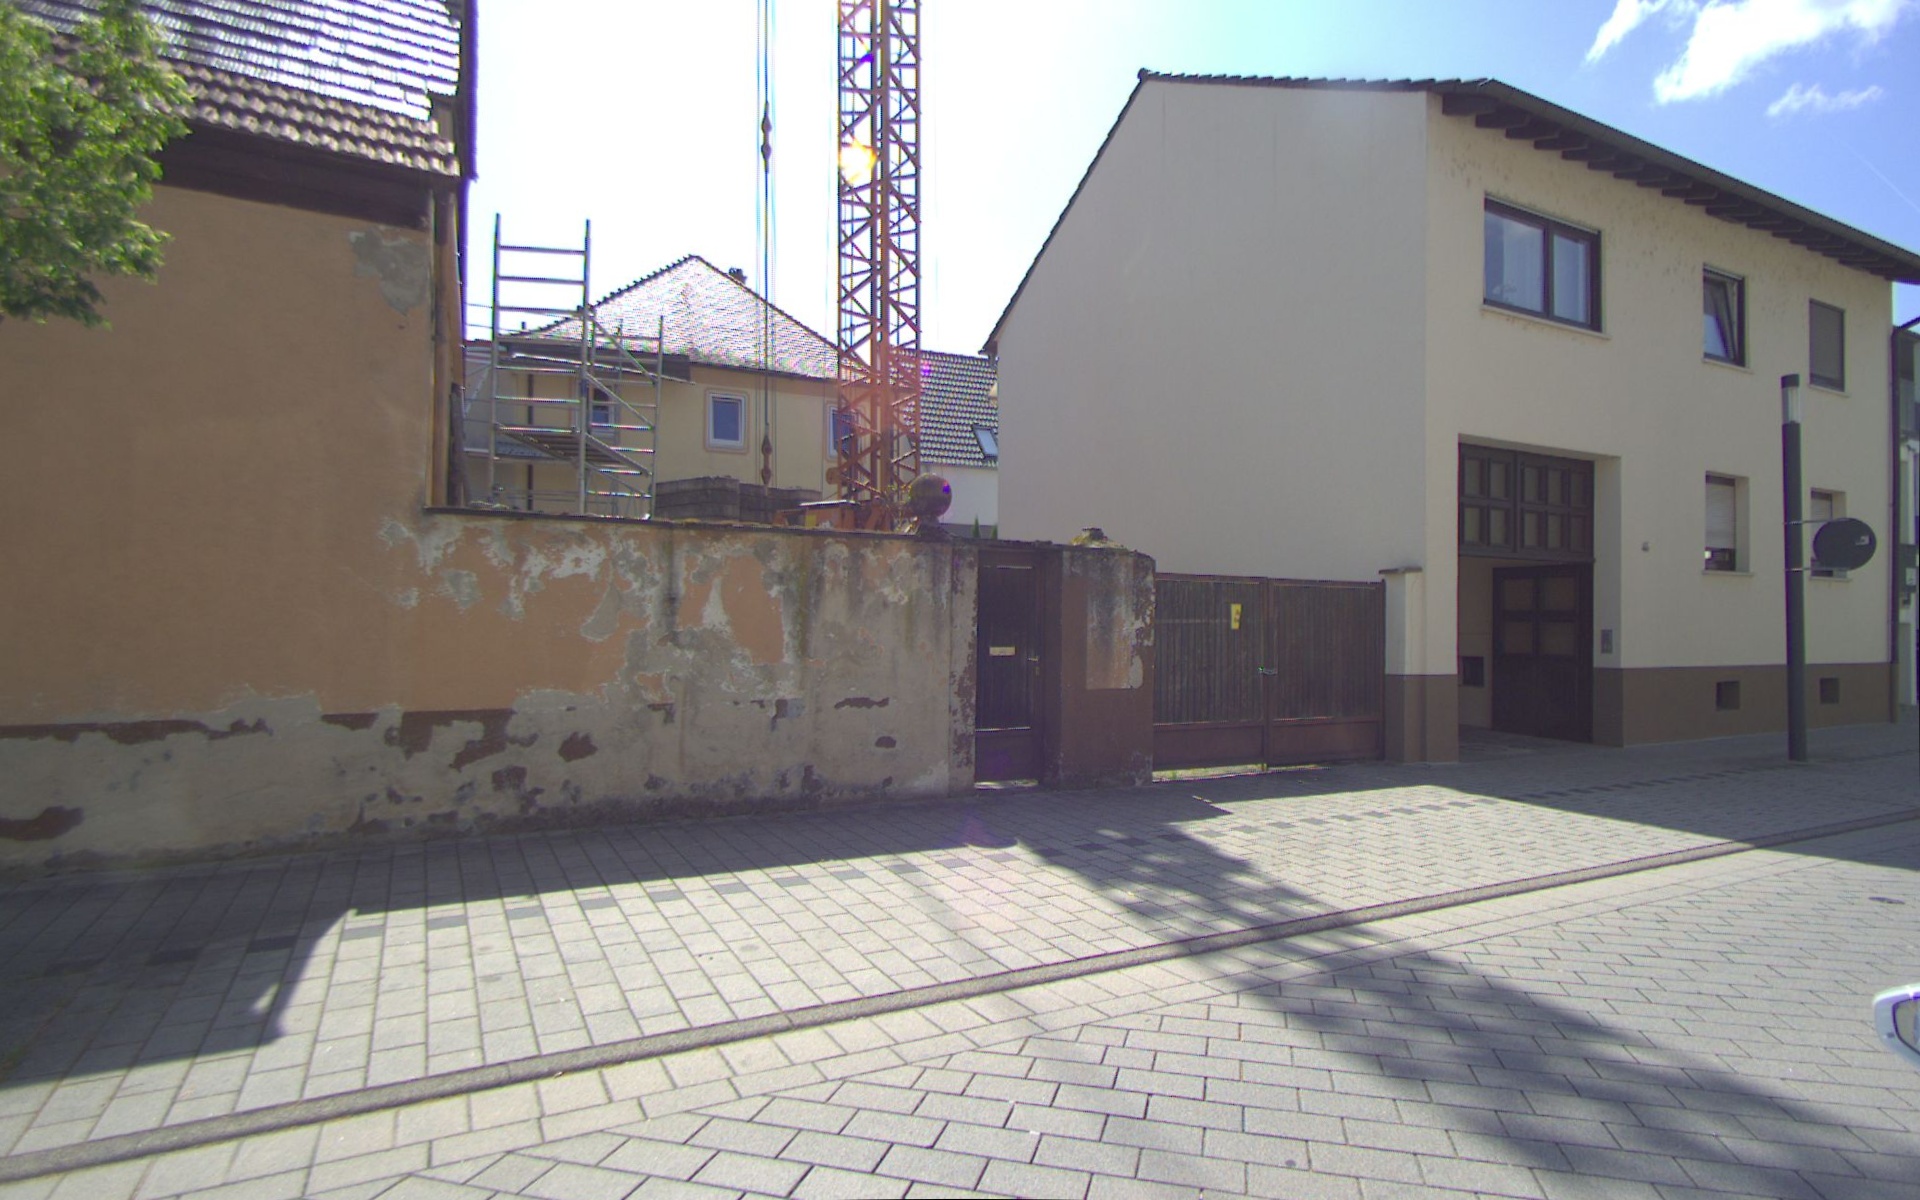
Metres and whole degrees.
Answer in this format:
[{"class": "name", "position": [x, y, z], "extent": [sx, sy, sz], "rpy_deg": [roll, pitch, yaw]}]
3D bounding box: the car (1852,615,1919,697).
[{"class": "car", "position": [21.106, 1.197, 20.340], "extent": [1.762, 1.680, 4.201], "rpy_deg": [1, 0, -28]}]
